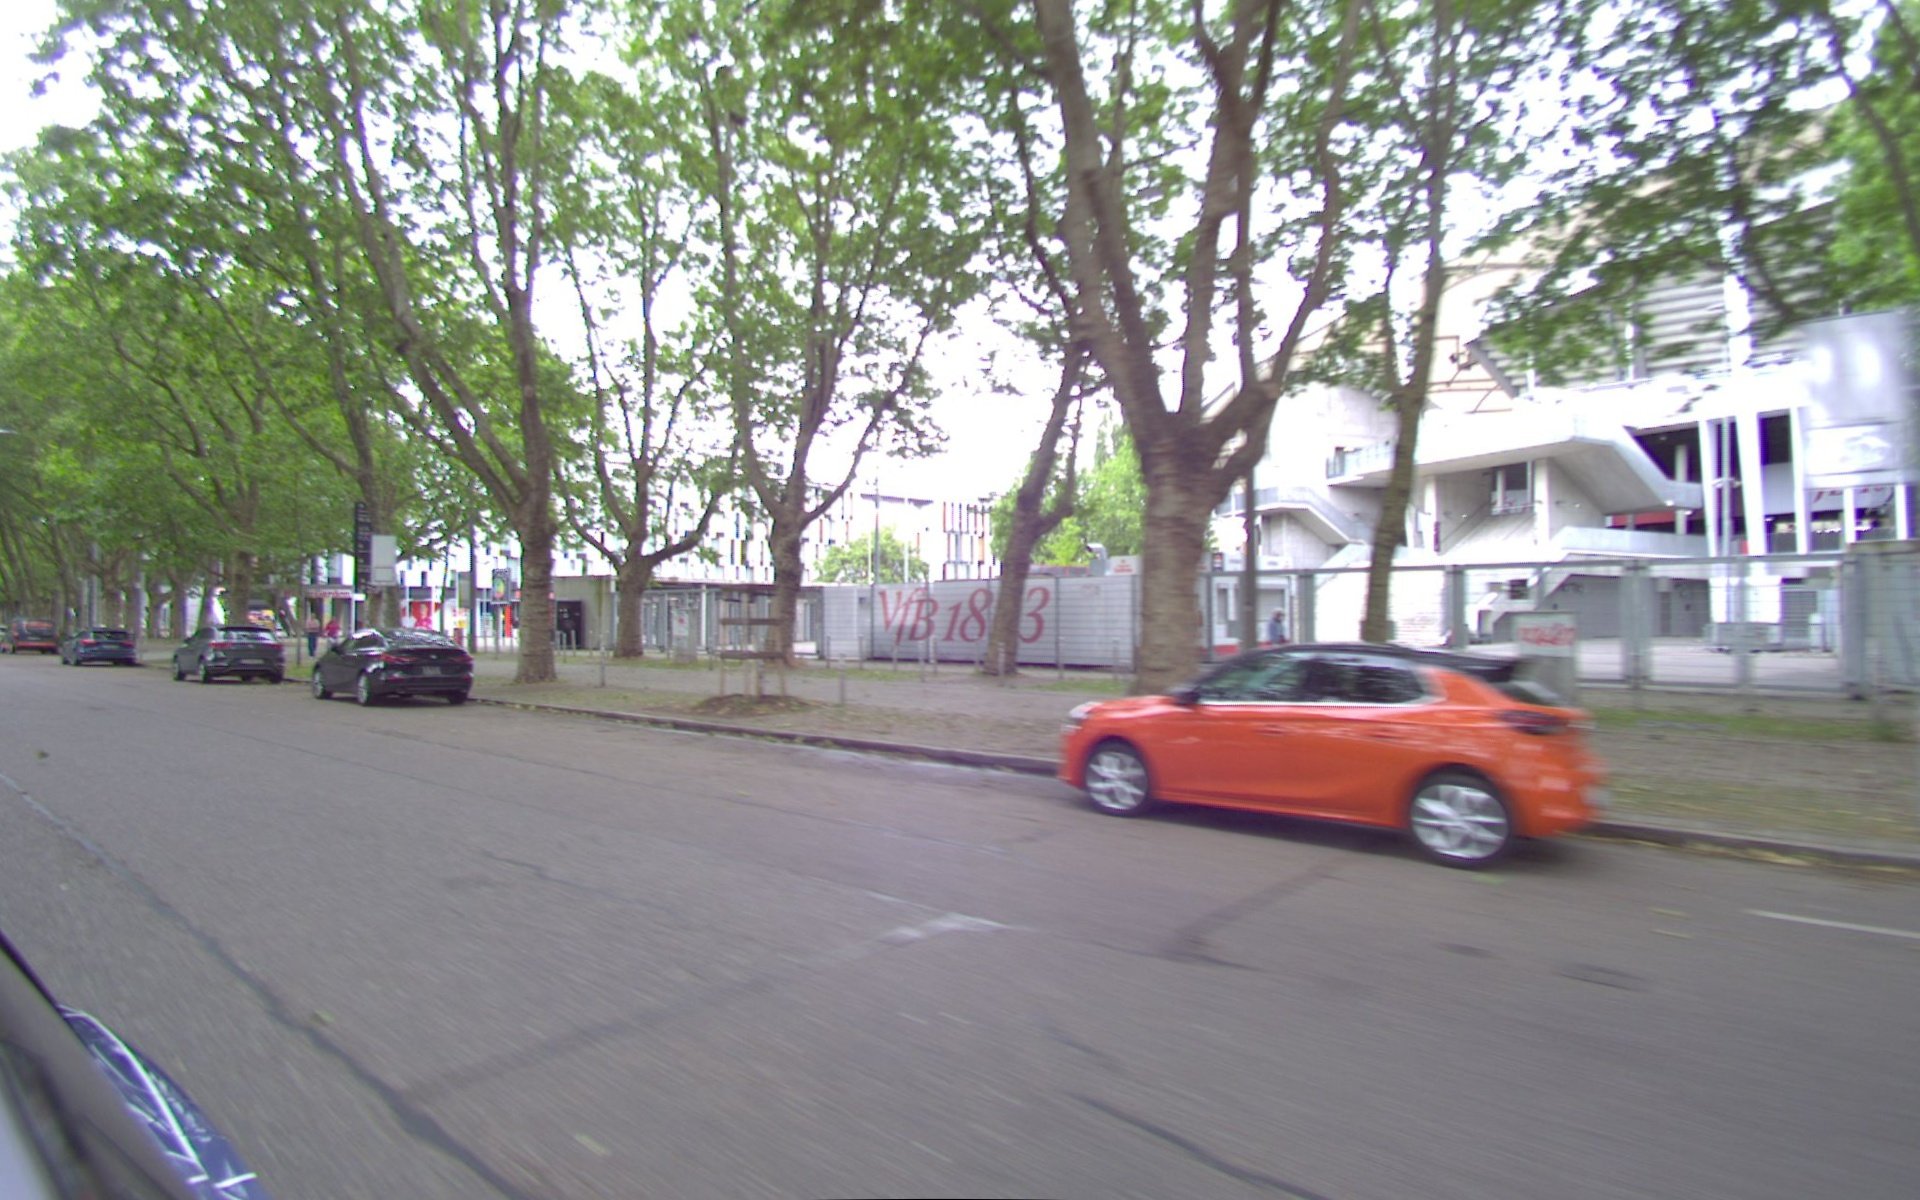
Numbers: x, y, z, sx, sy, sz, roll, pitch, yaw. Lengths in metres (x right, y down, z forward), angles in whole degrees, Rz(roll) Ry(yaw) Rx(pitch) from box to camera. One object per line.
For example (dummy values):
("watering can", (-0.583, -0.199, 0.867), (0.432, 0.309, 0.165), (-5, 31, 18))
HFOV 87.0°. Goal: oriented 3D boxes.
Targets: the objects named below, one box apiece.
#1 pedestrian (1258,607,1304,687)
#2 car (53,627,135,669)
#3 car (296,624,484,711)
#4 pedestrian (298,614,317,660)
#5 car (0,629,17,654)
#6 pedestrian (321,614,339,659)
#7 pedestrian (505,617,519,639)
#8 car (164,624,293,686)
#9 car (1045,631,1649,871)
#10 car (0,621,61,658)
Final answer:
("pedestrian", (6.432, 0.927, 20.303), (0.660, 1.555, 0.660), (-1, -2, 41))
("car", (-33.067, 1.799, 38.600), (4.571, 1.497, 1.707), (-2, -2, 41))
("car", (-11.113, 1.228, 19.591), (4.627, 1.477, 1.807), (-1, -3, 43))
("pedestrian", (-25.691, 1.438, 39.845), (0.569, 1.783, 0.769), (1, -2, -35))
("car", (-57.054, 2.378, 59.419), (4.748, 1.413, 1.884), (-1, -5, 41))
("pedestrian", (-25.159, 1.443, 40.400), (0.567, 1.755, 0.769), (1, -2, -35))
("pedestrian", (-34.596, 2.143, 78.114), (0.808, 1.704, 0.716), (-2, -2, 44))
("car", (-19.581, 1.422, 27.036), (4.148, 1.538, 1.858), (-1, -3, 41))
("car", (2.802, 0.927, 7.825), (3.998, 1.364, 1.789), (-1, -2, 41))
("car", (-46.416, 1.937, 50.265), (4.634, 1.764, 1.929), (-1, -3, 40))
